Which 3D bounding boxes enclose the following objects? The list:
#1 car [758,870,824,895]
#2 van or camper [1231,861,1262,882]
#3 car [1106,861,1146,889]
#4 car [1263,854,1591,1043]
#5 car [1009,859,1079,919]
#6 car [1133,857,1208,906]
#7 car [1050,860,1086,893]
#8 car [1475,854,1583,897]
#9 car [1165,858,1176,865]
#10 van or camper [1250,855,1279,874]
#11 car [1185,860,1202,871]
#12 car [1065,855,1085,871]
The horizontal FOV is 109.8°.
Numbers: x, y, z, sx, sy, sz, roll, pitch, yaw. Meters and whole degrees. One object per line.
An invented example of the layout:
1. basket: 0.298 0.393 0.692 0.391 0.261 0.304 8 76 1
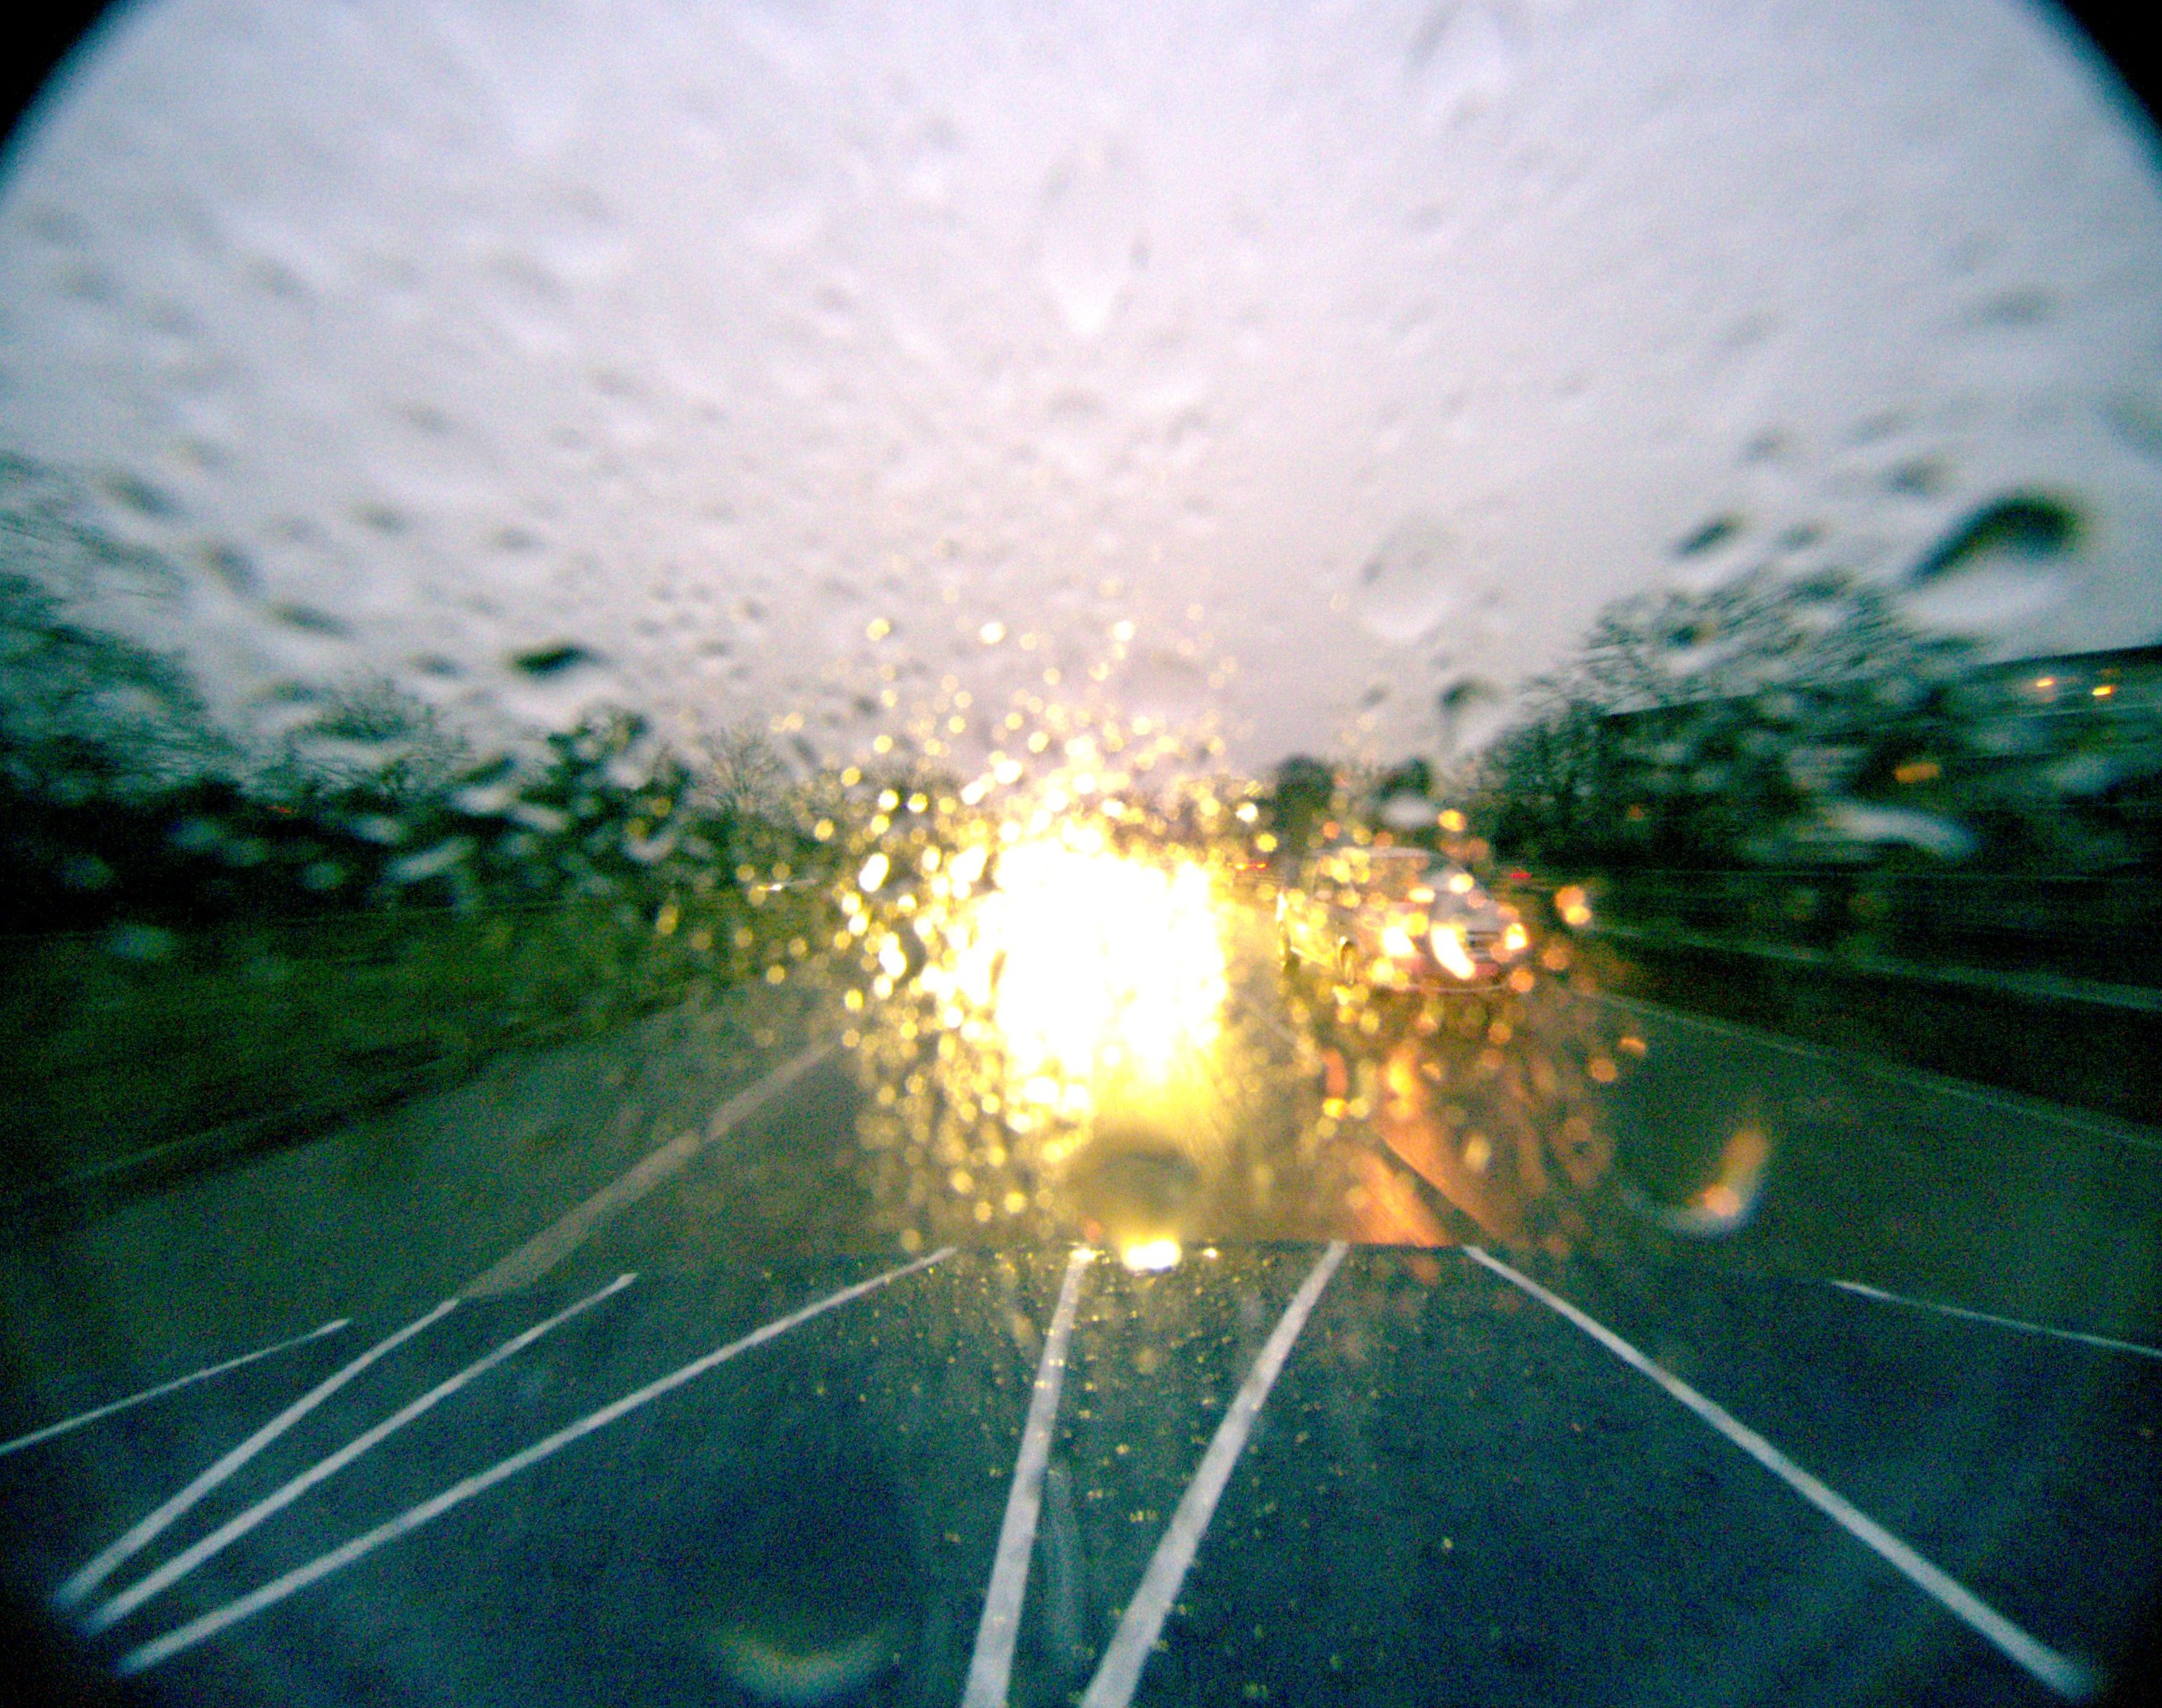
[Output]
1. car: -18.477 1.769 48.573 1.725 1.426 3.796 -1 0 22
2. van or camper: 12.659 1.287 58.368 1.530 1.473 4.434 -2 0 2
3. car: 2.318 1.072 40.221 1.697 1.327 3.999 -2 1 -2
4. car: 3.501 0.817 8.661 1.766 1.590 4.164 -1 0 -1
5. car: -0.991 0.953 22.212 1.830 1.524 3.999 -1 0 0
6. car: 3.053 0.911 26.709 2.027 1.521 4.145 -1 0 -1
7. car: -0.657 1.144 39.659 1.728 1.572 3.791 -1 0 1
8. car: 15.908 0.730 27.200 1.760 1.401 3.639 -1 0 1
9. car: 20.228 1.685 171.886 1.788 1.599 4.681 -1 0 -1
10. van or camper: 17.795 0.973 73.996 1.765 1.725 4.884 -2 0 2
11. car: 16.847 1.741 113.634 1.788 1.524 4.052 -1 0 -1
12. car: -0.638 0.948 81.480 1.853 1.610 3.950 -2 1 -3
